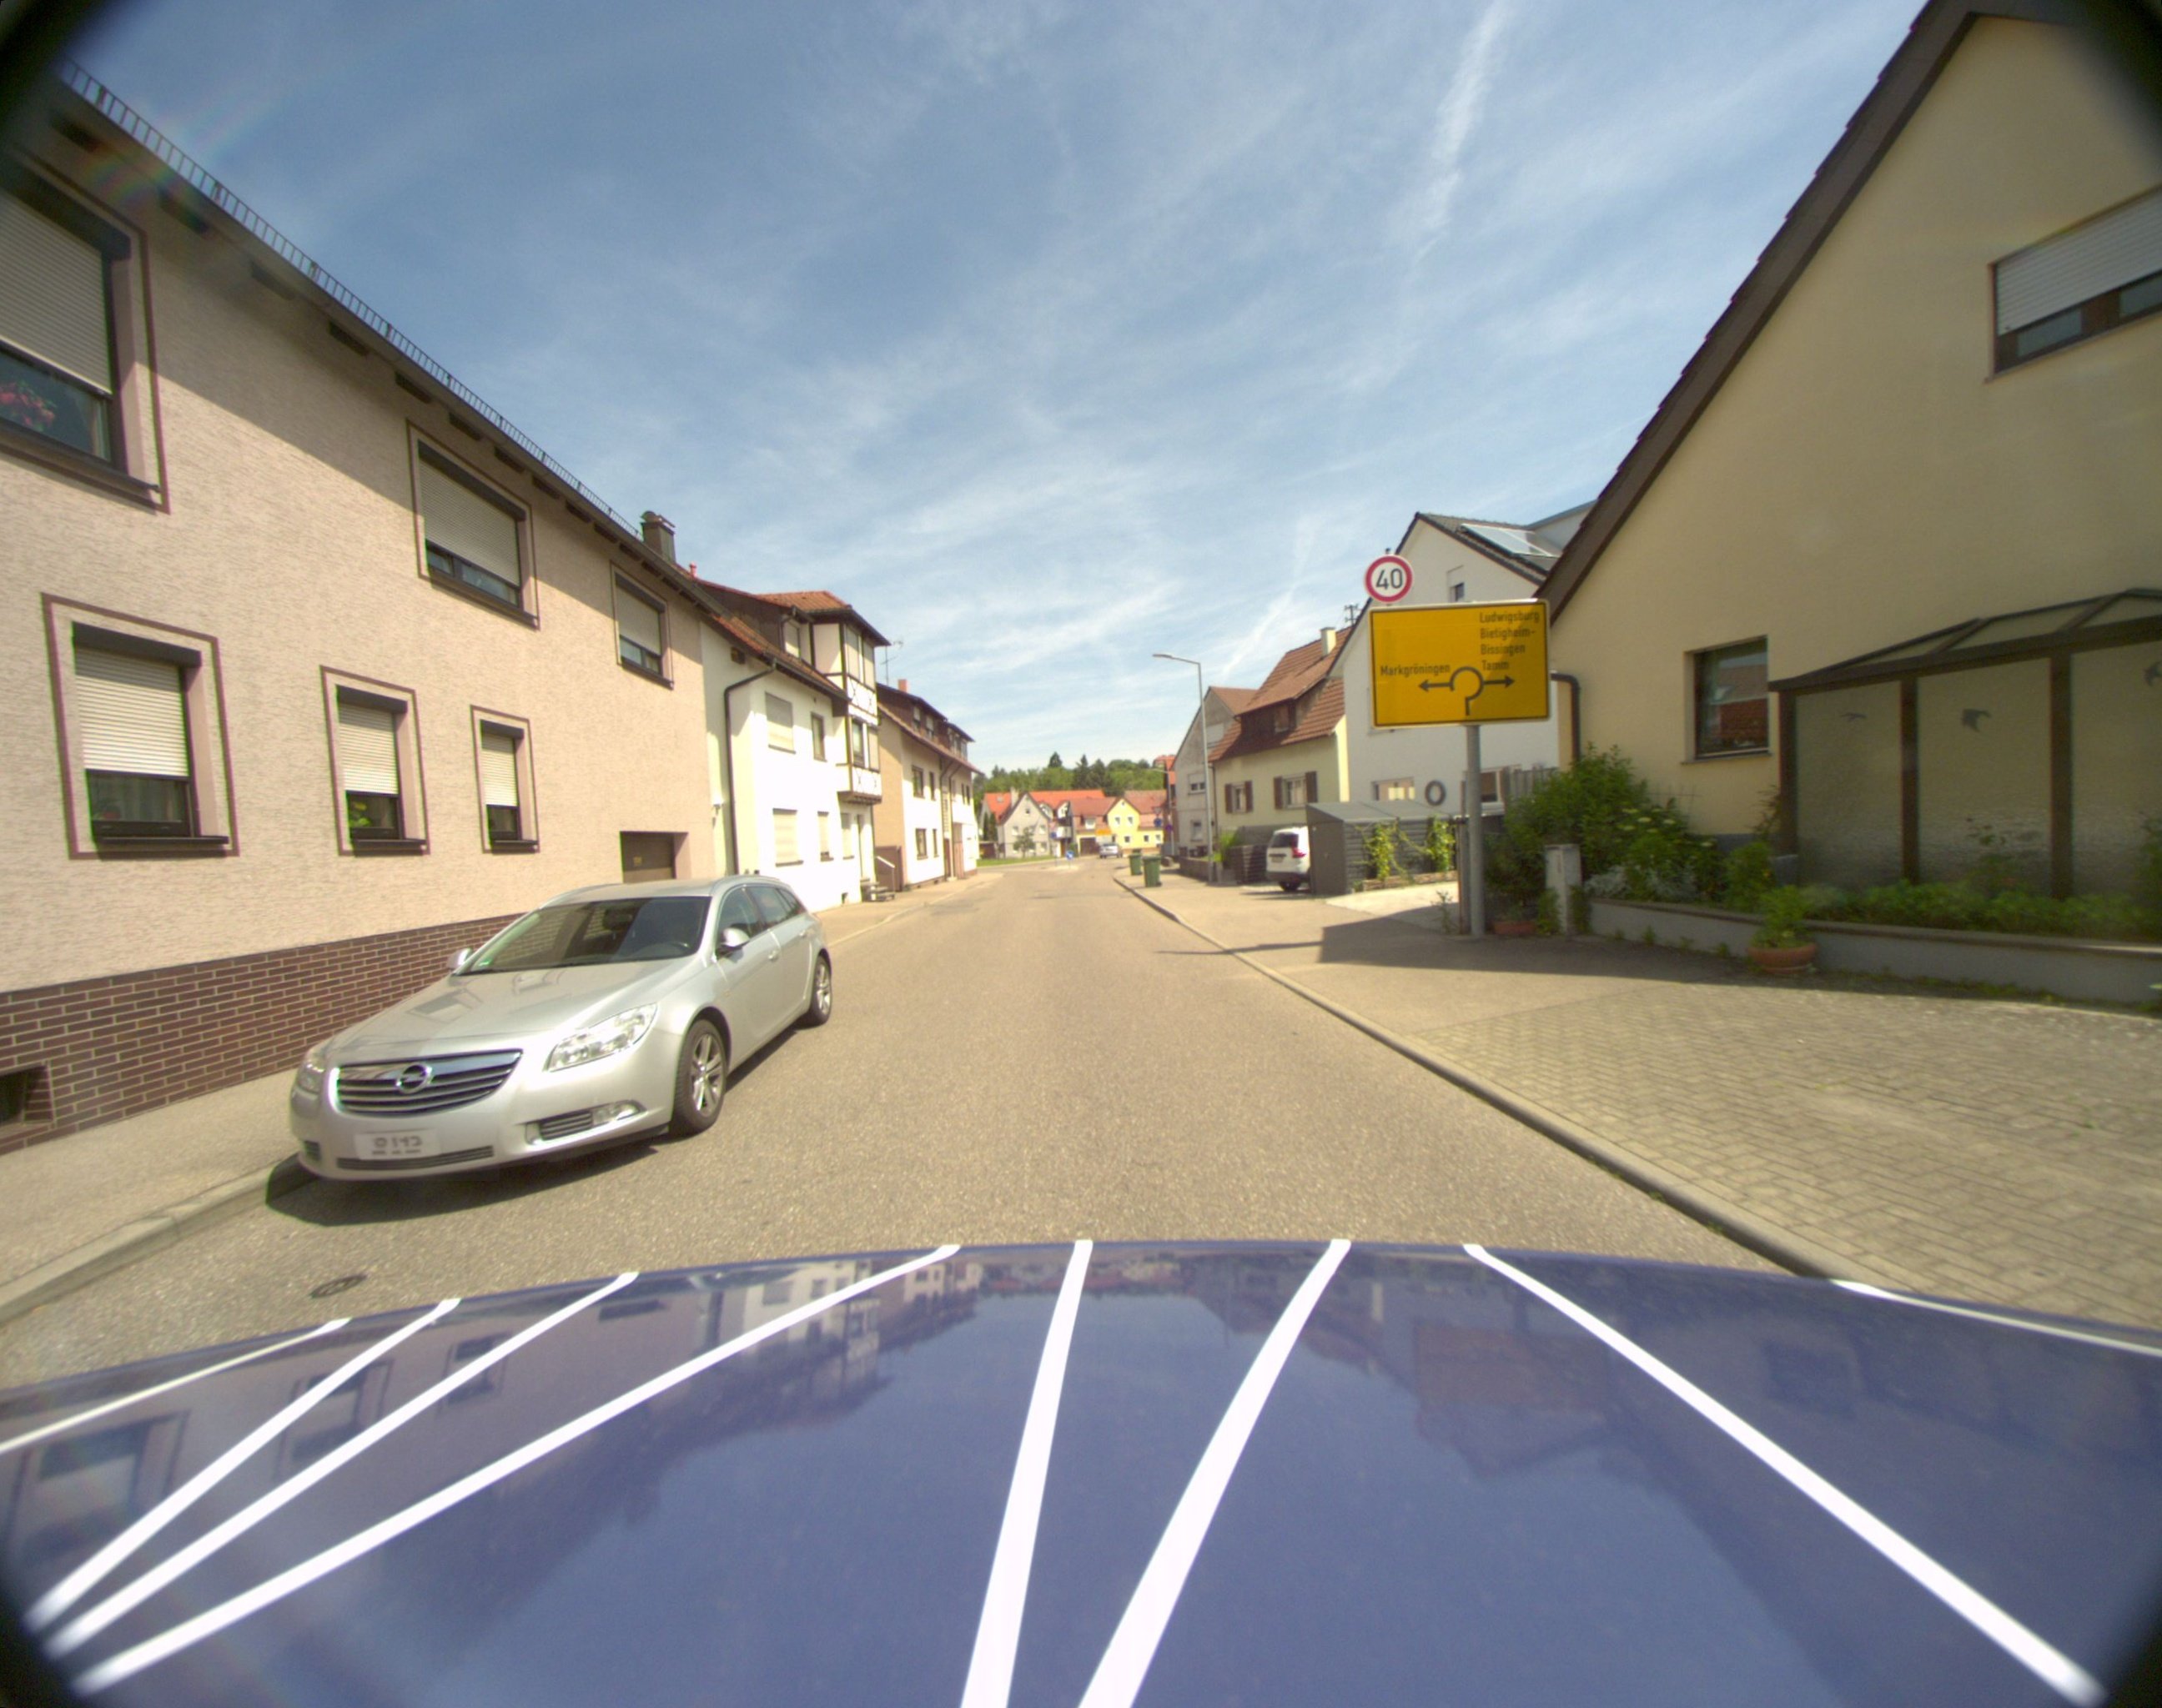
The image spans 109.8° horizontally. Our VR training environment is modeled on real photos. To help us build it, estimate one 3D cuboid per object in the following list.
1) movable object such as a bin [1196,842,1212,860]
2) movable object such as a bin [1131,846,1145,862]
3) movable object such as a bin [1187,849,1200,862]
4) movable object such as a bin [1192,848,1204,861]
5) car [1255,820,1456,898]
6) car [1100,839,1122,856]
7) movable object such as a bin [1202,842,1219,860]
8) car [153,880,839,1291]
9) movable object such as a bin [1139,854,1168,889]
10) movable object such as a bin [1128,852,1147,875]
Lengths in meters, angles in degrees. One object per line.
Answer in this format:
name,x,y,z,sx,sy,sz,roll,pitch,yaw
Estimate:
movable object such as a bin,7.727,-0.175,47.843,0.686,1.080,0.643,-5,2,-27
movable object such as a bin,3.974,0.006,52.959,0.810,1.039,0.827,-4,1,9
movable object such as a bin,7.261,0.079,49.150,0.487,0.801,0.645,-5,2,-25
movable object such as a bin,7.510,0.015,48.593,0.487,0.776,0.526,-5,2,-27
car,7.002,0.080,19.531,4.417,1.613,1.997,-4,2,-13
car,2.905,-0.624,73.076,1.960,1.478,4.459,-3,1,3
movable object such as a bin,8.050,-0.198,47.221,0.686,1.080,0.697,-5,2,-27
car,-3.190,1.065,5.470,1.791,1.433,4.334,-4,1,-6
movable object such as a bin,2.451,0.581,25.611,0.828,1.071,0.818,-4,1,0
movable object such as a bin,2.697,0.449,36.361,0.793,1.051,0.650,-3,1,-4
